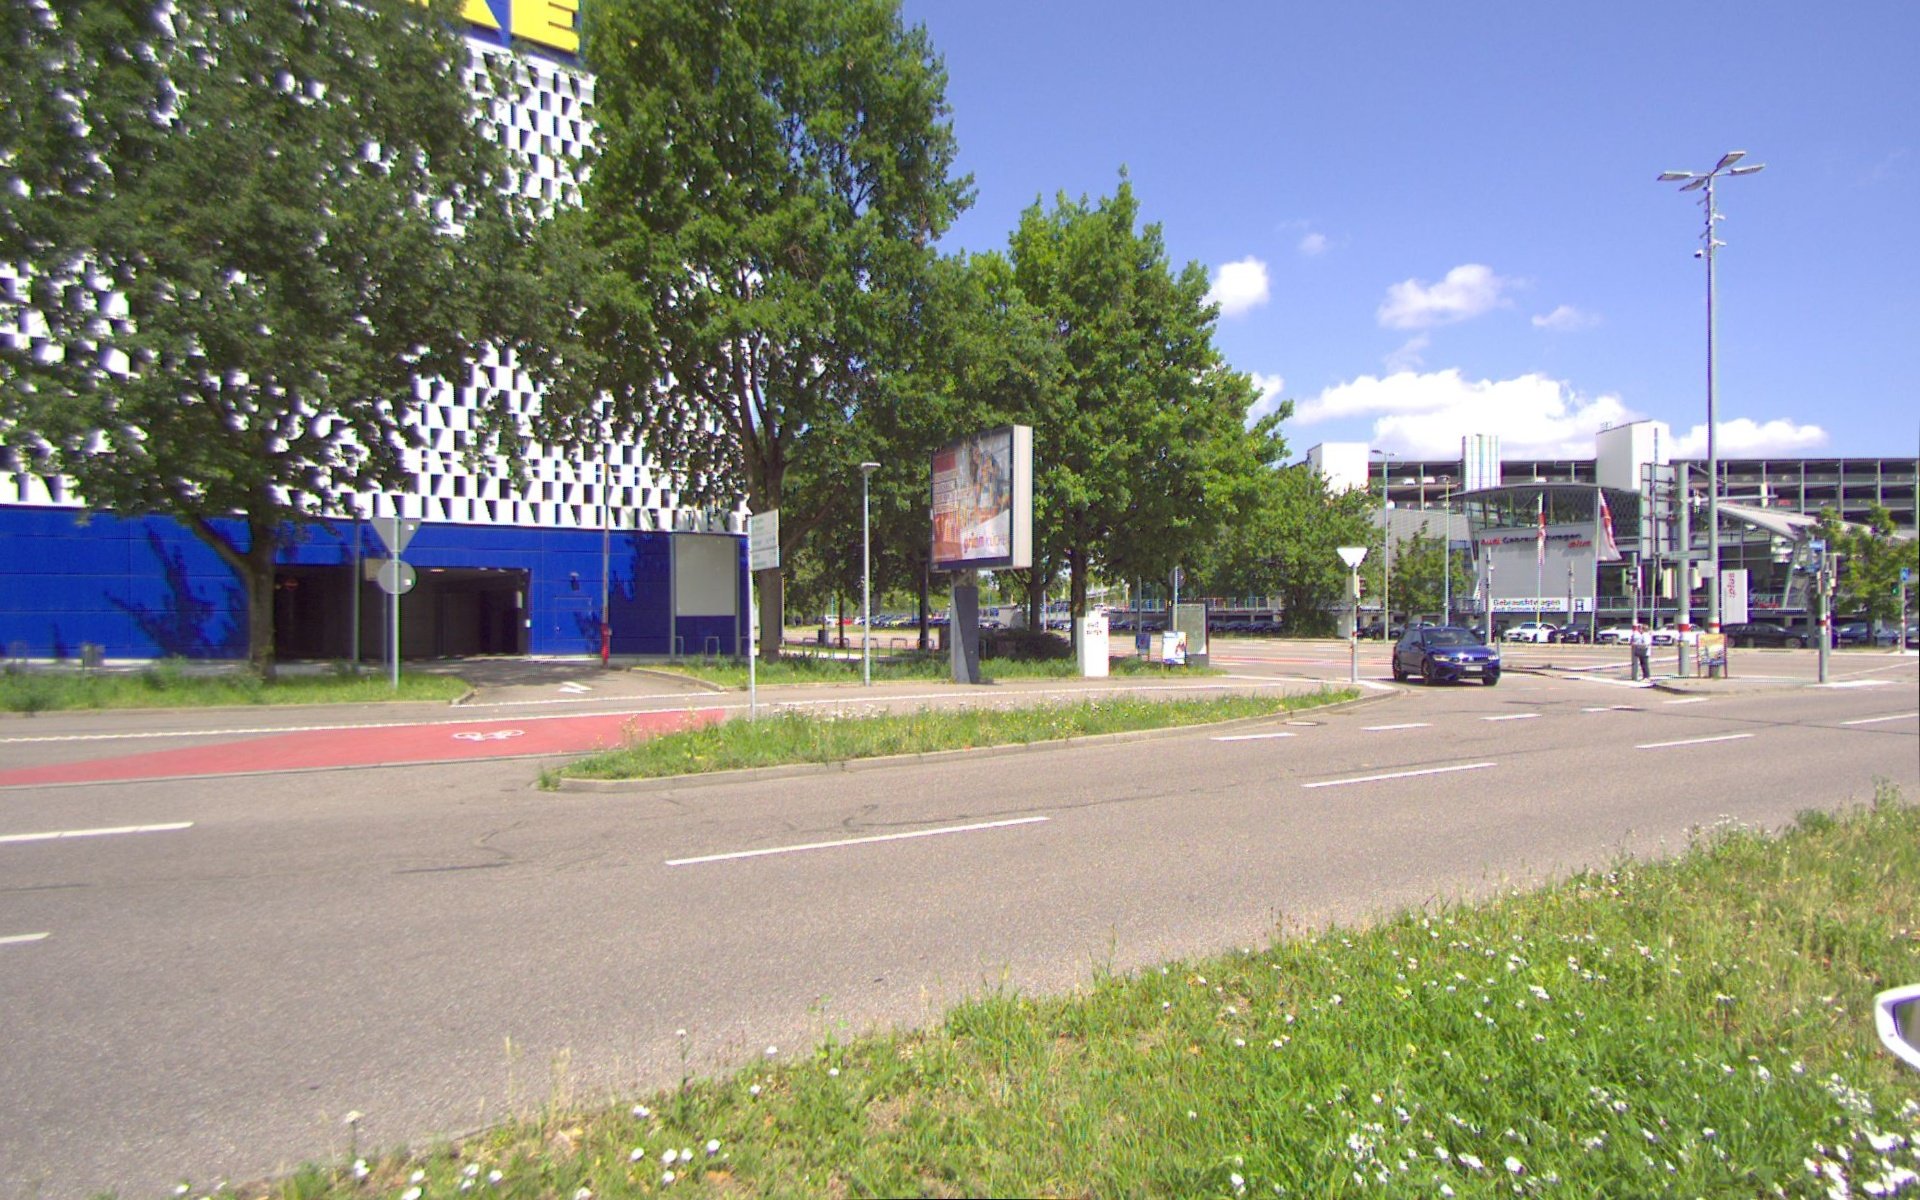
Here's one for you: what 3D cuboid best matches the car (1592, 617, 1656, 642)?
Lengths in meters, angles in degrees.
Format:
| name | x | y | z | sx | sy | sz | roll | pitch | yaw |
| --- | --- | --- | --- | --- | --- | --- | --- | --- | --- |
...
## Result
| name | x | y | z | sx | sy | sz | roll | pitch | yaw |
| --- | --- | --- | --- | --- | --- | --- | --- | --- | --- |
| car | 38.961 | 1.699 | 58.943 | 3.713 | 1.394 | 1.896 | 0 | 0 | -34 |

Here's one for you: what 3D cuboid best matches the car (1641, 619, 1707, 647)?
| name | x | y | z | sx | sy | sz | roll | pitch | yaw |
| --- | --- | --- | --- | --- | --- | --- | --- | --- | --- |
| car | 40.424 | 1.816 | 56.852 | 3.987 | 1.469 | 1.765 | 0 | 0 | -34 |

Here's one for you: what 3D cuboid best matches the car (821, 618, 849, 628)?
| name | x | y | z | sx | sy | sz | roll | pitch | yaw |
| --- | --- | --- | --- | --- | --- | --- | --- | --- | --- |
| car | -18.283 | 3.327 | 146.450 | 3.687 | 1.409 | 1.689 | 1 | 0 | -30 |

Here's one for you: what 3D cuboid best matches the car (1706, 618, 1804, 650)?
| name | x | y | z | sx | sy | sz | roll | pitch | yaw |
| --- | --- | --- | --- | --- | --- | --- | --- | --- | --- |
| car | 42.069 | 1.773 | 53.213 | 1.662 | 1.533 | 3.768 | 0 | 0 | -34 |

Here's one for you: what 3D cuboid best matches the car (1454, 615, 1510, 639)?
| name | x | y | z | sx | sy | sz | roll | pitch | yaw |
| --- | --- | --- | --- | --- | --- | --- | --- | --- | --- |
| car | 34.225 | 1.743 | 65.830 | 3.662 | 1.506 | 1.717 | 0 | 0 | -34 |

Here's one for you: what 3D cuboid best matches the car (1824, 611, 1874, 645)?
| name | x | y | z | sx | sy | sz | roll | pitch | yaw |
| --- | --- | --- | --- | --- | --- | --- | --- | --- | --- |
| car | 44.600 | 1.382 | 50.373 | 1.797 | 1.572 | 3.977 | 1 | 0 | 43 |

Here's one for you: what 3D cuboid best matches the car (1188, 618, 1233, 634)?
| name | x | y | z | sx | sy | sz | roll | pitch | yaw |
| --- | --- | --- | --- | --- | --- | --- | --- | --- | --- |
| car | 20.484 | 2.137 | 82.181 | 3.462 | 1.207 | 1.583 | 1 | 0 | -30 |

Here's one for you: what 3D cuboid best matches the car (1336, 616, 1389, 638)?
| name | x | y | z | sx | sy | sz | roll | pitch | yaw |
| --- | --- | --- | --- | --- | --- | --- | --- | --- | --- |
| car | 28.705 | 1.908 | 71.651 | 3.664 | 1.508 | 1.825 | 0 | 0 | -35 |

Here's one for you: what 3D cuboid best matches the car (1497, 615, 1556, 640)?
| name | x | y | z | sx | sy | sz | roll | pitch | yaw |
| --- | --- | --- | --- | --- | --- | --- | --- | --- | --- |
| car | 35.786 | 1.705 | 63.445 | 3.663 | 1.506 | 1.867 | 0 | 0 | -35 |

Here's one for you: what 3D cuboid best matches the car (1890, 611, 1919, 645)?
| name | x | y | z | sx | sy | sz | roll | pitch | yaw |
| --- | --- | --- | --- | --- | --- | --- | --- | --- | --- |
| car | 45.913 | 1.339 | 48.245 | 1.797 | 1.572 | 3.977 | 1 | 0 | 43 |

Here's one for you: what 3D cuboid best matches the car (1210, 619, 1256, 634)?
| name | x | y | z | sx | sy | sz | roll | pitch | yaw |
| --- | --- | --- | --- | --- | --- | --- | --- | --- | --- |
| car | 21.854 | 2.115 | 80.254 | 3.462 | 1.207 | 1.583 | 1 | 0 | -30 |

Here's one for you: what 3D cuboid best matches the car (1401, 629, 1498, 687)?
| name | x | y | z | sx | sy | sz | roll | pitch | yaw |
| --- | --- | --- | --- | --- | --- | --- | --- | --- | --- |
| car | 13.956 | 1.610 | 28.871 | 1.960 | 1.529 | 4.001 | -1 | -2 | 18 |

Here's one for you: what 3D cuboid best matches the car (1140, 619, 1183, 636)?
| name | x | y | z | sx | sy | sz | roll | pitch | yaw |
| --- | --- | --- | --- | --- | --- | --- | --- | --- | --- |
| car | 17.409 | 2.362 | 86.896 | 3.462 | 1.409 | 1.583 | 1 | 0 | -30 |

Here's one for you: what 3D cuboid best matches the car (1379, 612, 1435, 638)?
| name | x | y | z | sx | sy | sz | roll | pitch | yaw |
| --- | --- | --- | --- | --- | --- | --- | --- | --- | --- |
| car | 30.590 | 1.714 | 68.764 | 3.754 | 1.686 | 1.804 | 1 | 0 | -34 |

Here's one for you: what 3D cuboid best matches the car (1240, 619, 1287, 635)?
| name | x | y | z | sx | sy | sz | roll | pitch | yaw |
| --- | --- | --- | --- | --- | --- | --- | --- | --- | --- |
| car | 23.590 | 2.100 | 78.033 | 3.462 | 1.207 | 1.583 | 1 | 0 | -30 |

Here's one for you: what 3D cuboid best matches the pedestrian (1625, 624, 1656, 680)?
| name | x | y | z | sx | sy | sz | roll | pitch | yaw |
| --- | --- | --- | --- | --- | --- | --- | --- | --- | --- |
| pedestrian | 18.651 | 1.420 | 27.536 | 0.502 | 1.532 | 0.470 | 1 | 0 | -5 |
